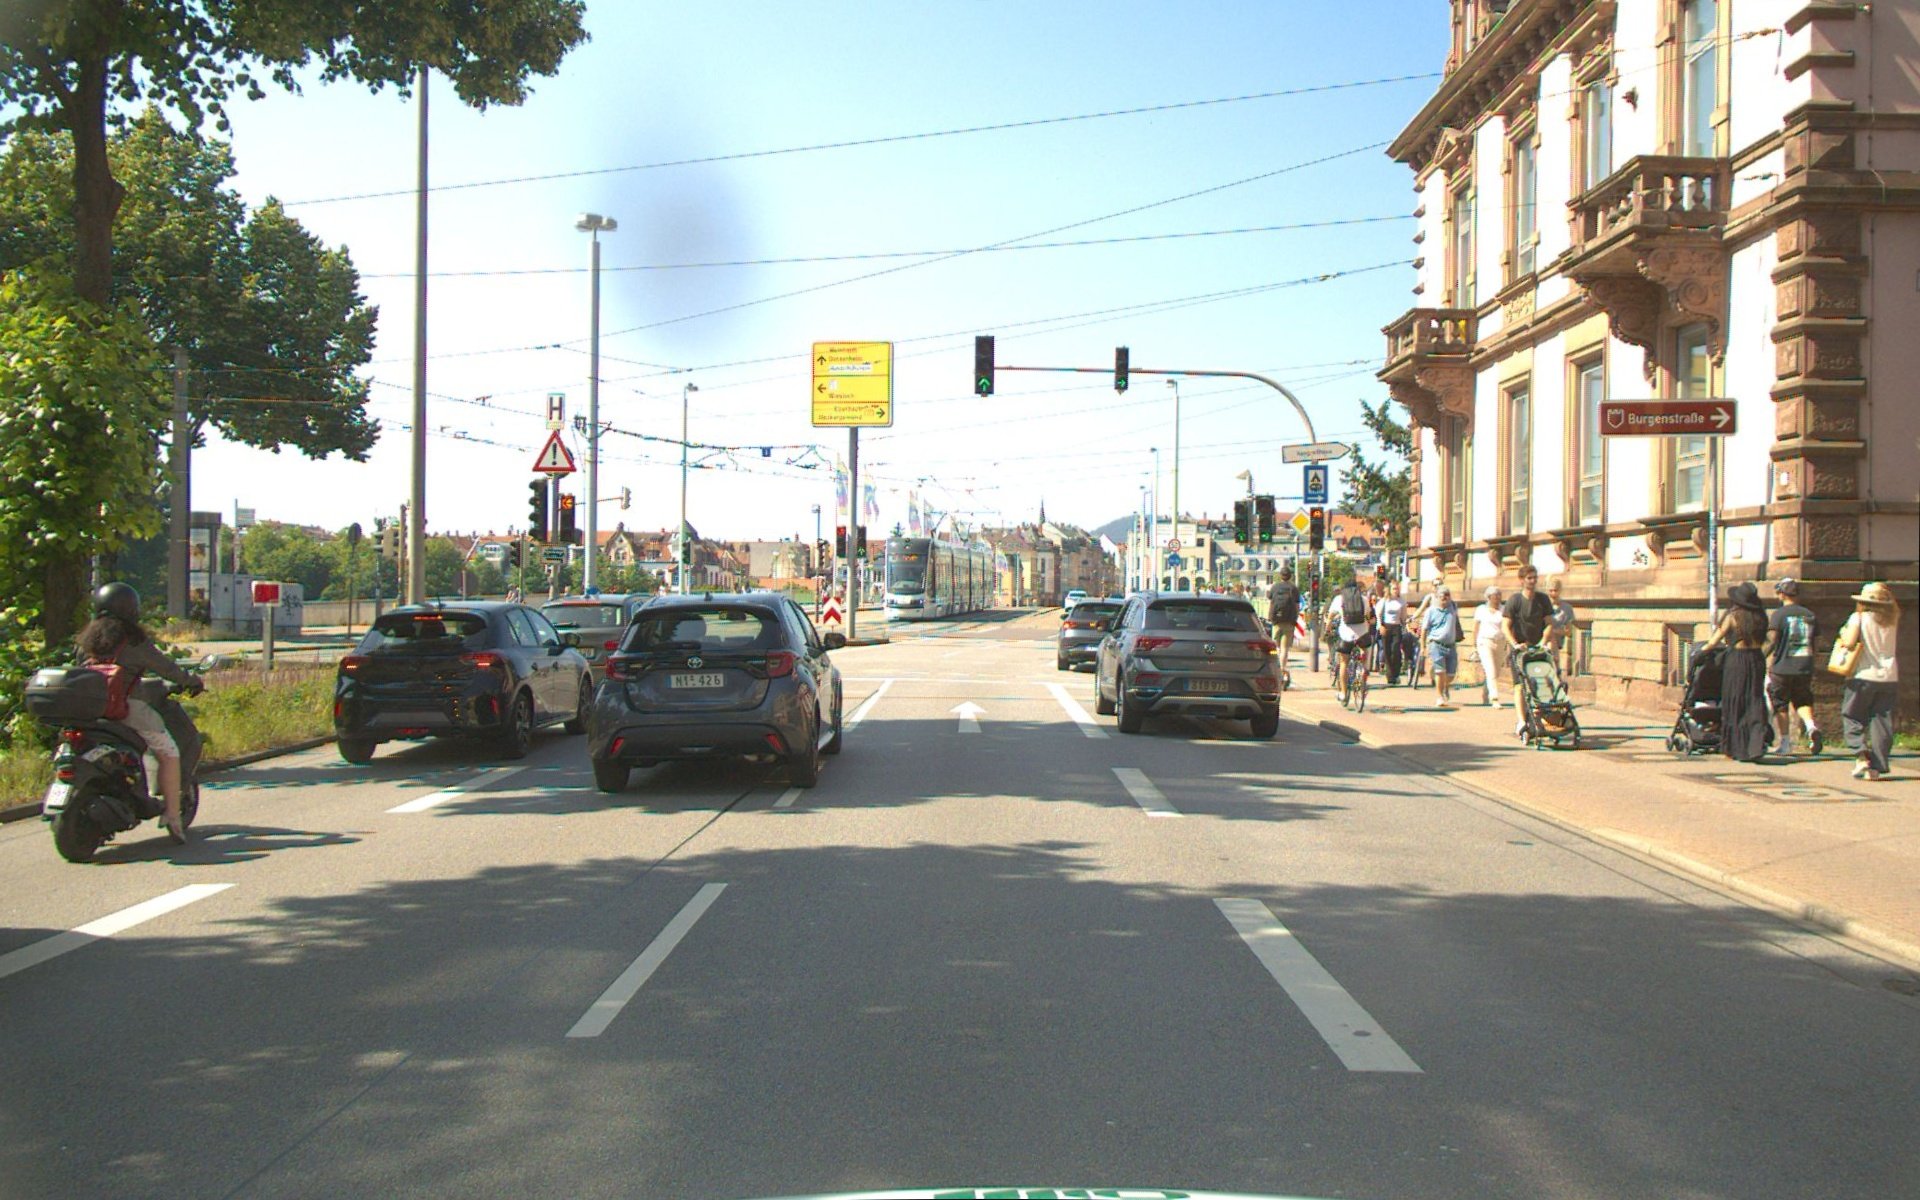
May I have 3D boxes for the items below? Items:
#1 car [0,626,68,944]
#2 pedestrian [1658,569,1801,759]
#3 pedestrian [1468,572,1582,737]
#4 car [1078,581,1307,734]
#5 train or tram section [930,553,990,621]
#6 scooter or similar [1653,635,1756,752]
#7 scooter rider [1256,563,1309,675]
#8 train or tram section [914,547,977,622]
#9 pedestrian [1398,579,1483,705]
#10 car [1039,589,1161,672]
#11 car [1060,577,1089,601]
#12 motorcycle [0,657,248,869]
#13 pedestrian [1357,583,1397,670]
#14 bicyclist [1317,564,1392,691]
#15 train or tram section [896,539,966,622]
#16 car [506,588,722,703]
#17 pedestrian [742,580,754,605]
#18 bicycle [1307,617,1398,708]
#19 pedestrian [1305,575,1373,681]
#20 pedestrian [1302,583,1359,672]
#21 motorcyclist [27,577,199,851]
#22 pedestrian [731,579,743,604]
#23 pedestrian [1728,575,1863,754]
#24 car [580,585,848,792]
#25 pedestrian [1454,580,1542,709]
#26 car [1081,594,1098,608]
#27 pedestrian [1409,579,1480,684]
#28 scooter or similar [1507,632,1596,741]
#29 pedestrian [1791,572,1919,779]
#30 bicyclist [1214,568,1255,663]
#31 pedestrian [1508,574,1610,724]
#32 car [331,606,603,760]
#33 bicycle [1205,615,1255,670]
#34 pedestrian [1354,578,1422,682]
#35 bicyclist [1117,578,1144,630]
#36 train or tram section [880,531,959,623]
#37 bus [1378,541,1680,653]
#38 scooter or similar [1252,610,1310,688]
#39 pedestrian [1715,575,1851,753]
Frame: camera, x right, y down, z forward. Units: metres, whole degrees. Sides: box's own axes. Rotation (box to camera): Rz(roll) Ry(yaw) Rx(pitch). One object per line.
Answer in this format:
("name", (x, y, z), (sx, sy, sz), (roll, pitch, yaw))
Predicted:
("car", (-5.045, 0.789, 5.625), (1.778, 1.355, 4.000), (0, -1, 1))
("pedestrian", (7.106, 0.575, 15.311), (0.845, 1.669, 0.875), (3, -1, -1))
("pedestrian", (6.016, 0.570, 17.653), (0.845, 1.669, 0.875), (3, -1, -1))
("car", (2.583, 0.617, 19.322), (1.837, 1.519, 3.997), (3, 0, -4))
("train or tram section", (0.045, -0.760, 100.146), (2.763, 3.843, 8.231), (3, 0, 5))
("scooter or similar", (7.185, 0.889, 15.988), (0.588, 1.066, 0.799), (3, -1, -1))
("scooter rider", (5.191, 0.308, 26.677), (0.674, 1.759, 0.778), (2, -1, 3))
("train or tram section", (-0.744, -0.852, 91.851), (2.763, 3.843, 8.229), (3, 0, 3))
("pedestrian", (6.628, 0.567, 22.833), (0.845, 1.669, 0.875), (3, -1, -1))
("car", (2.793, 0.600, 33.836), (1.954, 1.519, 3.998), (3, 0, -2))
("car", (8.042, -0.749, 116.473), (1.820, 1.533, 4.000), (3, 0, 1))
("motorcycle", (-5.088, 0.939, 10.117), (0.684, 1.082, 1.909), (-1, 0, -2))
("pedestrian", (8.230, 0.517, 32.649), (0.564, 1.669, 0.611), (3, -1, -1))
("bicyclist", (5.199, 0.353, 21.845), (0.674, 1.604, 1.049), (3, -1, 0))
("train or tram section", (-1.371, -0.939, 83.653), (2.763, 3.843, 8.229), (3, 0, 3))
("car", (-4.656, 0.595, 22.865), (1.995, 1.355, 4.000), (3, 0, 1))
("pedestrian", (-12.292, -0.443, 95.930), (0.546, 1.440, 0.636), (3, -1, -1))
("bicycle", (5.167, 0.799, 21.888), (0.719, 1.112, 1.898), (3, 0, 0))
("pedestrian", (6.241, 0.456, 27.244), (0.845, 1.669, 0.875), (3, -1, -1))
("pedestrian", (7.226, 0.539, 32.284), (0.845, 1.669, 0.875), (3, -1, -1))
("motorcyclist", (-5.089, 0.668, 9.975), (0.675, 1.583, 0.717), (-1, -2, -2))
("pedestrian", (-12.945, -0.474, 95.929), (0.546, 1.440, 0.636), (3, -1, -1))
("pedestrian", (8.045, 0.603, 15.963), (0.845, 1.669, 0.875), (0, 0, -1))
("car", (-1.932, 0.664, 14.079), (1.741, 1.501, 3.999), (0, -1, -1))
("pedestrian", (7.292, 0.595, 22.466), (0.845, 1.669, 0.875), (3, -1, -1))
("car", (15.995, 0.121, 205.093), (1.820, 1.533, 4.000), (3, 0, 1))
("pedestrian", (7.963, 0.511, 27.234), (0.845, 1.669, 0.875), (3, -1, -1))
("scooter or similar", (6.032, 0.872, 16.902), (0.588, 1.066, 0.799), (-1, -1, -1))
("pedestrian", (7.560, 0.607, 13.756), (0.845, 1.669, 0.875), (0, 0, -1))
("bicyclist", (5.889, 0.334, 35.471), (0.674, 1.996, 0.778), (3, -1, 0))
("pedestrian", (6.832, 0.547, 18.899), (0.845, 1.669, 0.875), (0, 0, -1))
("car", (-4.786, 0.752, 16.606), (1.421, 1.323, 4.000), (-2, -1, 1))
("bicycle", (5.789, 0.896, 35.564), (0.719, 1.112, 1.898), (3, 0, 0))
("pedestrian", (7.139, 0.502, 27.631), (0.845, 1.669, 0.875), (3, -1, -1))
("bicyclist", (5.442, 0.131, 52.702), (0.674, 1.604, 1.049), (3, -1, -1))
("train or tram section", (-1.767, -1.021, 75.496), (2.763, 3.843, 8.229), (3, 0, 3))
("bus", (16.921, -0.050, 49.167), (8.484, 2.825, 2.962), (3, -1, -20))
("scooter or similar", (5.153, 0.767, 26.615), (0.674, 1.188, 1.464), (3, -1, 3))
("pedestrian", (8.102, 0.618, 16.311), (0.845, 1.669, 0.875), (3, -1, -1))
